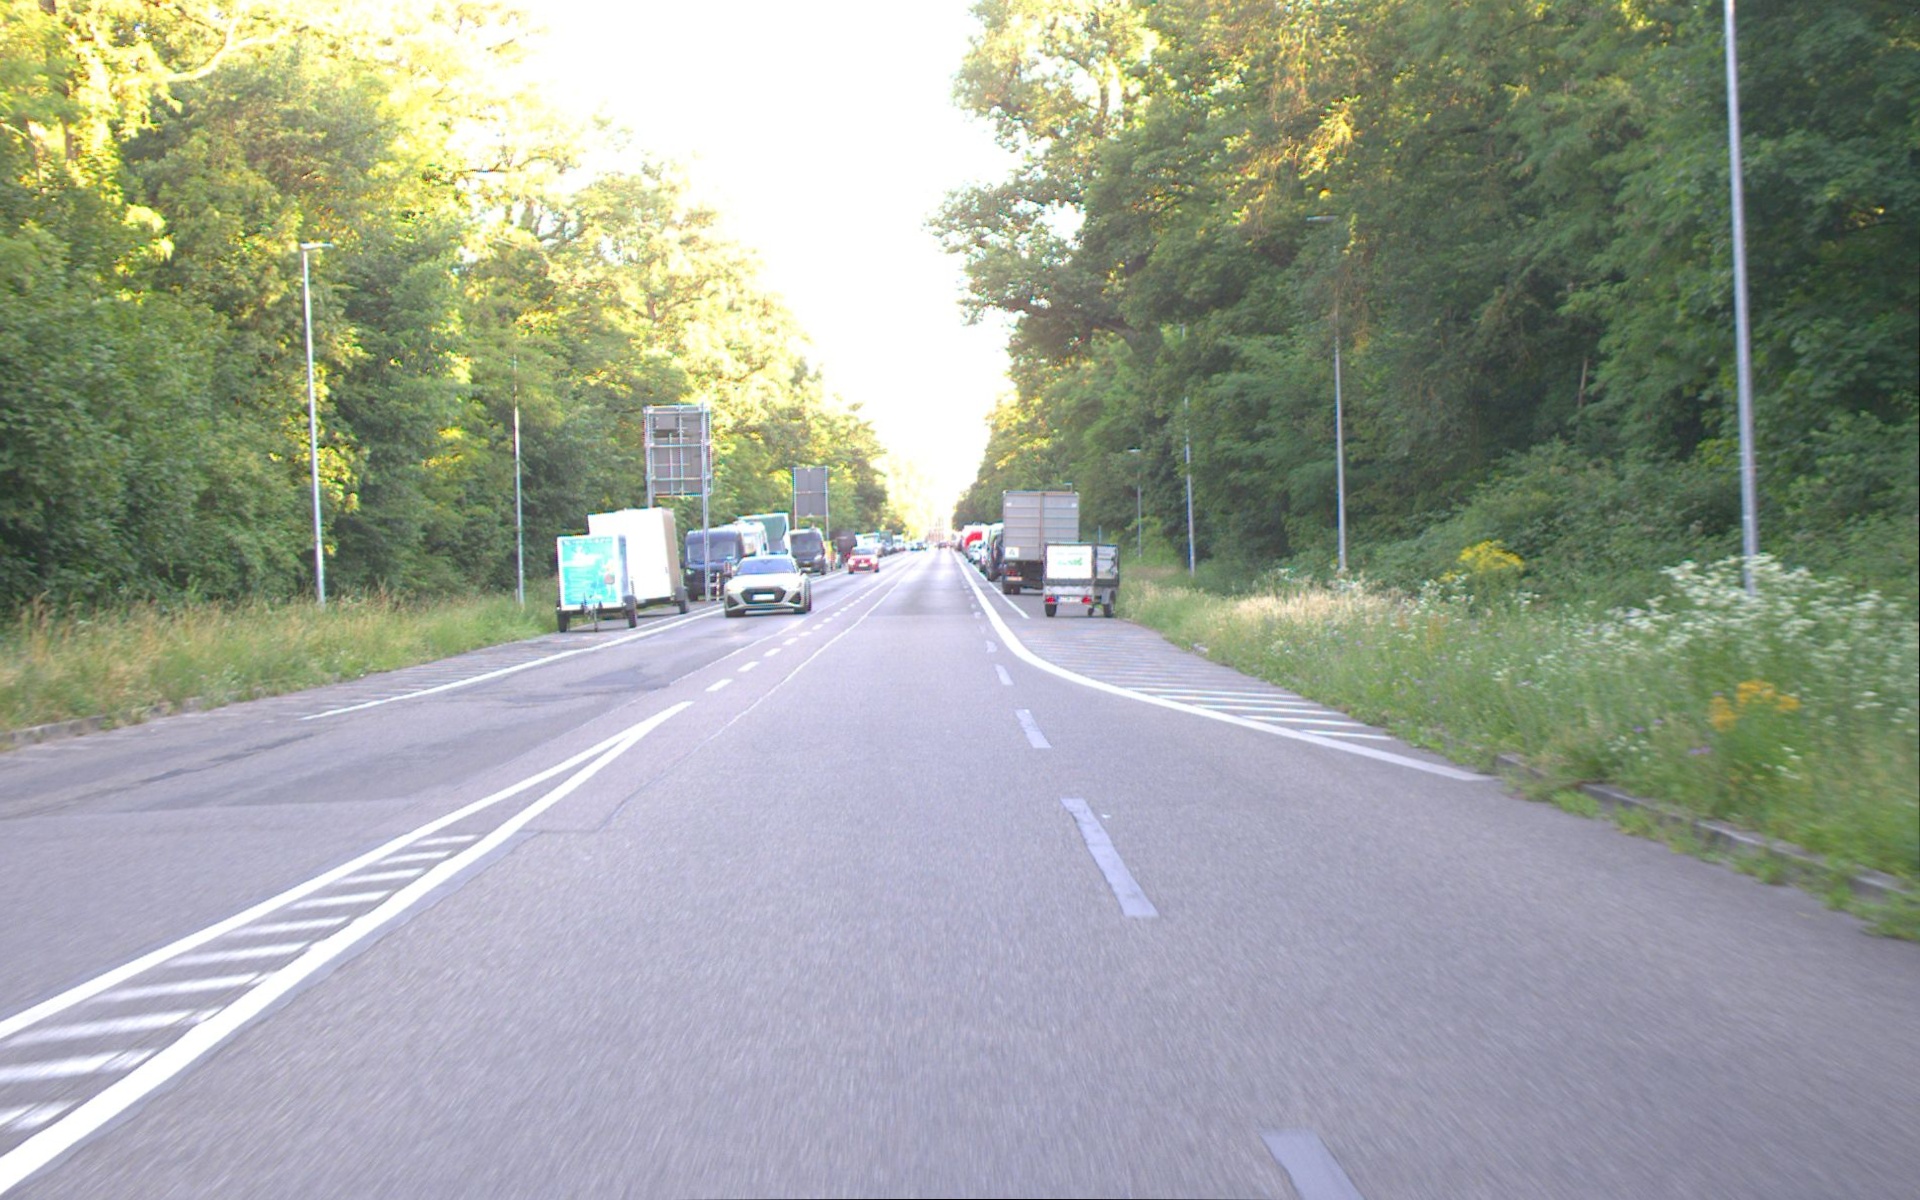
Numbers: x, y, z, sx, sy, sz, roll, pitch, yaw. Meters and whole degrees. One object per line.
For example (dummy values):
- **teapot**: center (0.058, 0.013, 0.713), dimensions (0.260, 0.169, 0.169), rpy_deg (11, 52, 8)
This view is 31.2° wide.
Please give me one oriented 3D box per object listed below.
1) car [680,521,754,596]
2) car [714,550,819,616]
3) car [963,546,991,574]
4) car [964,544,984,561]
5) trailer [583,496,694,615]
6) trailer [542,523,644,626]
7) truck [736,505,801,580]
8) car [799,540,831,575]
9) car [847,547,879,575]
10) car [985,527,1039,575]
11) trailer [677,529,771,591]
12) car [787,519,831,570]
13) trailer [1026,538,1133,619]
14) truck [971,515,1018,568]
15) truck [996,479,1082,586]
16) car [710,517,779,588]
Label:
- **car**: center (-8.223, -1.438, 116.913), dimensions (1.993, 2.356, 5.766), rpy_deg (-4, 1, 0)
- **car**: center (-4.707, -0.432, 84.093), dimensions (2.064, 1.430, 4.465), rpy_deg (-4, 1, 2)
- **car**: center (0.898, -2.110, 181.124), dimensions (1.147, 1.247, 2.754), rpy_deg (-8, 2, -2)
- **car**: center (1.048, -3.554, 256.975), dimensions (1.427, 1.218, 3.412), rpy_deg (2, 1, 0)
- **trailer**: center (-8.542, -1.200, 91.875), dimensions (2.326, 2.914, 5.627), rpy_deg (-4, 1, -1)
- **trailer**: center (-8.107, -0.591, 76.271), dimensions (1.817, 2.160, 4.143), rpy_deg (-3, 1, -1)
- **truck**: center (-8.899, -2.693, 160.303), dimensions (2.504, 3.317, 6.842), rpy_deg (-3, 1, 0)
- **car**: center (-9.122, -2.658, 216.470), dimensions (1.700, 2.006, 4.000), rpy_deg (-6, 1, 0)
- **car**: center (-5.471, -2.198, 193.262), dimensions (1.682, 1.481, 4.038), rpy_deg (-3, 1, -2)
- **car**: center (2.140, -2.033, 142.330), dimensions (1.993, 1.948, 4.300), rpy_deg (-1, 1, -2)
- **trailer**: center (-8.851, -1.505, 129.212), dimensions (1.965, 2.147, 3.926), rpy_deg (-2, 1, 21)
- **car**: center (-8.534, -3.173, 194.948), dimensions (2.186, 2.779, 5.334), rpy_deg (-3, 1, 0)
- **trailer**: center (2.656, -0.495, 75.795), dimensions (1.457, 1.656, 3.774), rpy_deg (-2, 1, 15)
- **truck**: center (1.730, -2.947, 174.306), dimensions (2.141, 2.650, 4.300), rpy_deg (-1, 1, -2)
- **truck**: center (2.473, -2.111, 108.415), dimensions (2.589, 3.244, 7.220), rpy_deg (-1, 1, 1)
- **car**: center (-8.407, -1.886, 134.734), dimensions (2.249, 2.638, 5.722), rpy_deg (-3, 1, 0)
